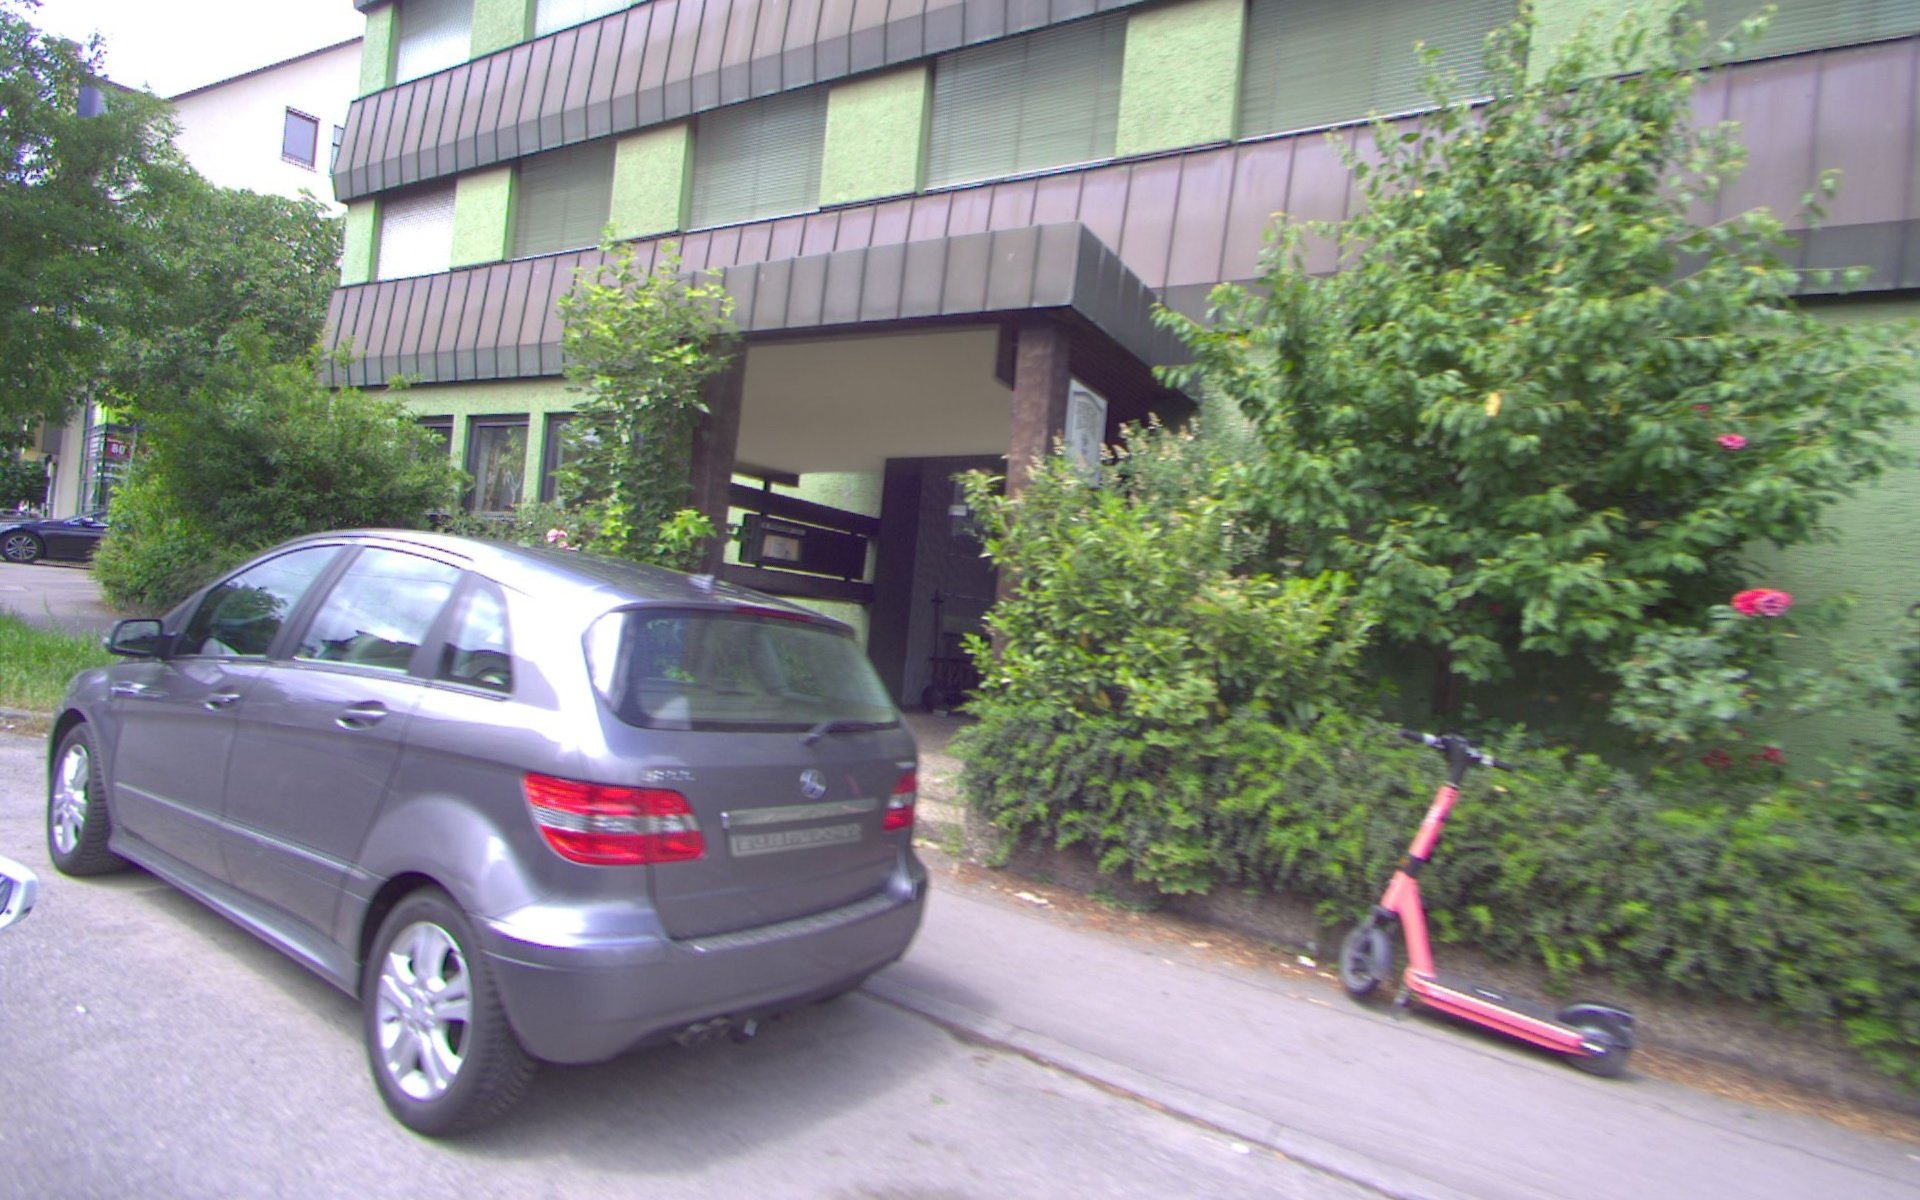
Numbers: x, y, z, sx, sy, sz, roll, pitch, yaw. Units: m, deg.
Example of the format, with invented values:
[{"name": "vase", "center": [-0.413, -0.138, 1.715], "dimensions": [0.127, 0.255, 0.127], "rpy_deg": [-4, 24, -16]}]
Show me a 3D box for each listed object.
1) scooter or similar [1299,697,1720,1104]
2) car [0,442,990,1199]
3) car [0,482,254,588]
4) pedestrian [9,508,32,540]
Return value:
[{"name": "scooter or similar", "center": [2.254, 1.184, 4.268], "dimensions": [1.381, 1.323, 0.300], "rpy_deg": [8, 4, 31]}, {"name": "car", "center": [-2.257, 0.398, 4.200], "dimensions": [4.389, 1.687, 1.690], "rpy_deg": [8, 1, 33]}, {"name": "car", "center": [-18.751, -1.411, 22.326], "dimensions": [1.786, 1.647, 4.664], "rpy_deg": [6, -2, 43]}, {"name": "pedestrian", "center": [-38.947, -3.148, 41.711], "dimensions": [0.575, 1.218, 0.497], "rpy_deg": [7, -1, -42]}]
